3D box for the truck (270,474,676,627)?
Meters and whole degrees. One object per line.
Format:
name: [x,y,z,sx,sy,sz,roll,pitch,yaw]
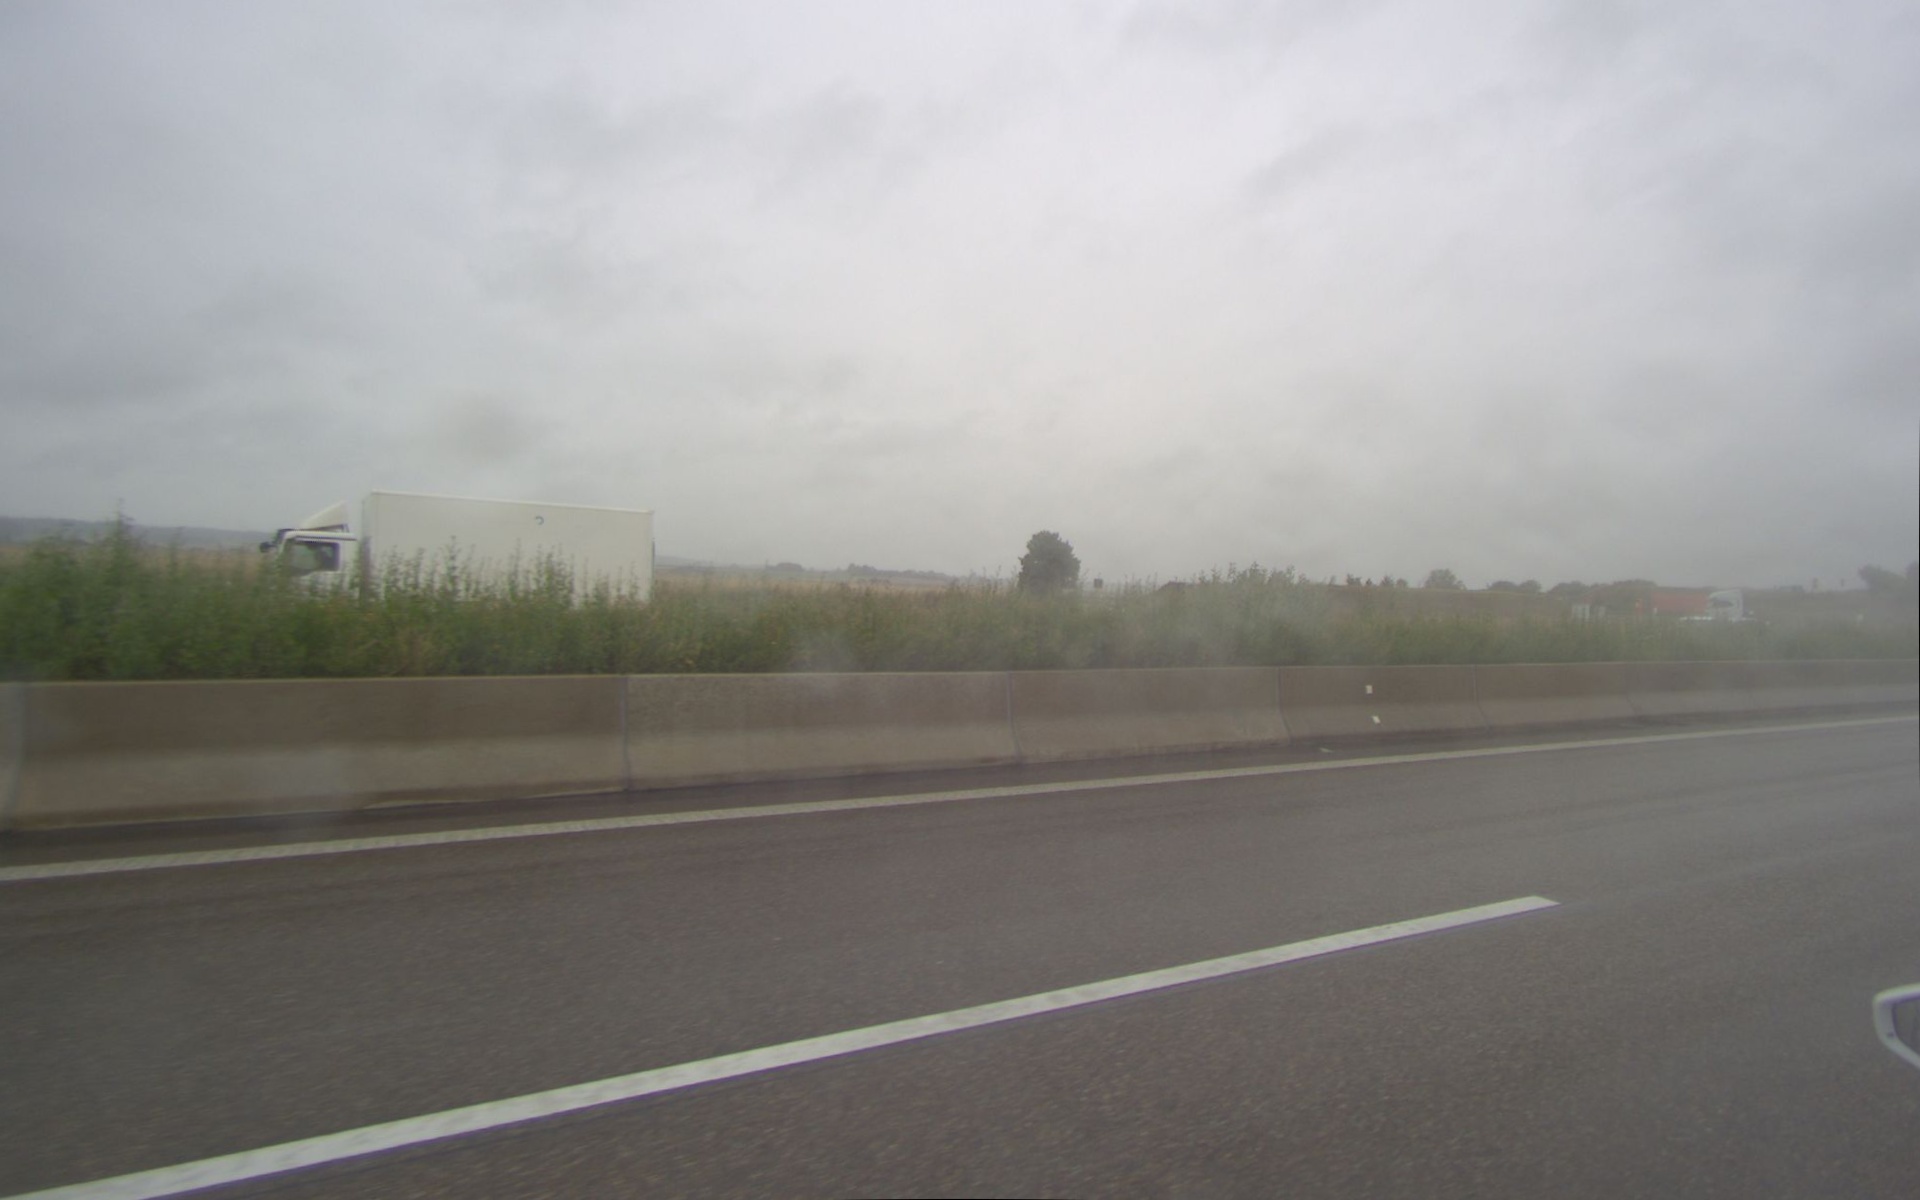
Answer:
truck: [-11.200,-0.951,23.617,8.201,2.947,2.800,2,0,-36]
